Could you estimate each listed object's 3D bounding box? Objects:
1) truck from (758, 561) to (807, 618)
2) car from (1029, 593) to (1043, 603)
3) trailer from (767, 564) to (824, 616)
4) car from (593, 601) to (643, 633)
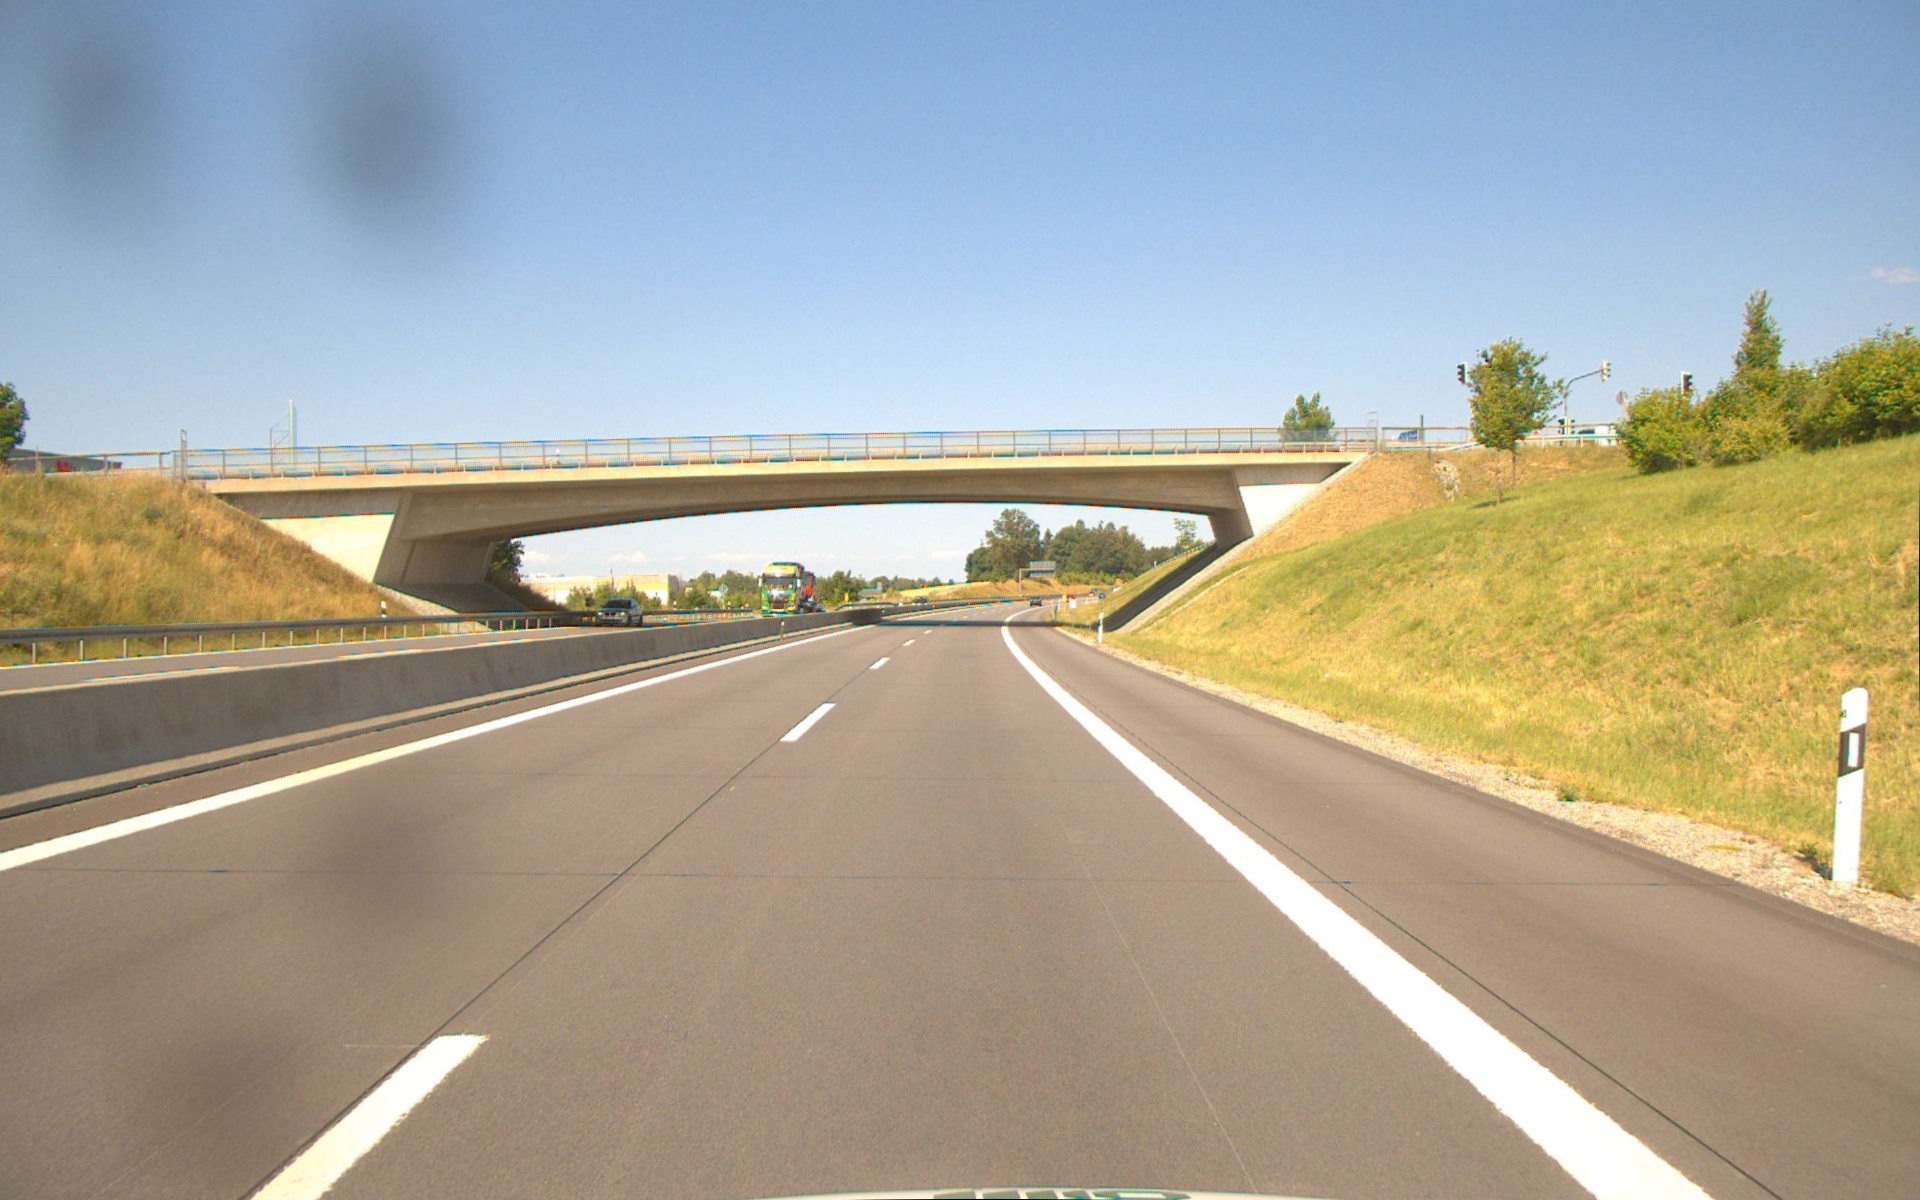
[{"bbox_3d":[-12.560,-0.744,117.335,2.678,3.899,5.833,0,0,2],"label":"truck"},{"bbox_3d":[11.364,-0.277,246.969,1.952,1.445,4.002,-2,0,3],"label":"car"},{"bbox_3d":[-12.243,-0.703,124.473,2.610,3.721,13.239,0,0,2],"label":"trailer"},{"bbox_3d":[-17.557,0.848,85.082,1.825,1.557,4.565,0,0,-3],"label":"car"}]
